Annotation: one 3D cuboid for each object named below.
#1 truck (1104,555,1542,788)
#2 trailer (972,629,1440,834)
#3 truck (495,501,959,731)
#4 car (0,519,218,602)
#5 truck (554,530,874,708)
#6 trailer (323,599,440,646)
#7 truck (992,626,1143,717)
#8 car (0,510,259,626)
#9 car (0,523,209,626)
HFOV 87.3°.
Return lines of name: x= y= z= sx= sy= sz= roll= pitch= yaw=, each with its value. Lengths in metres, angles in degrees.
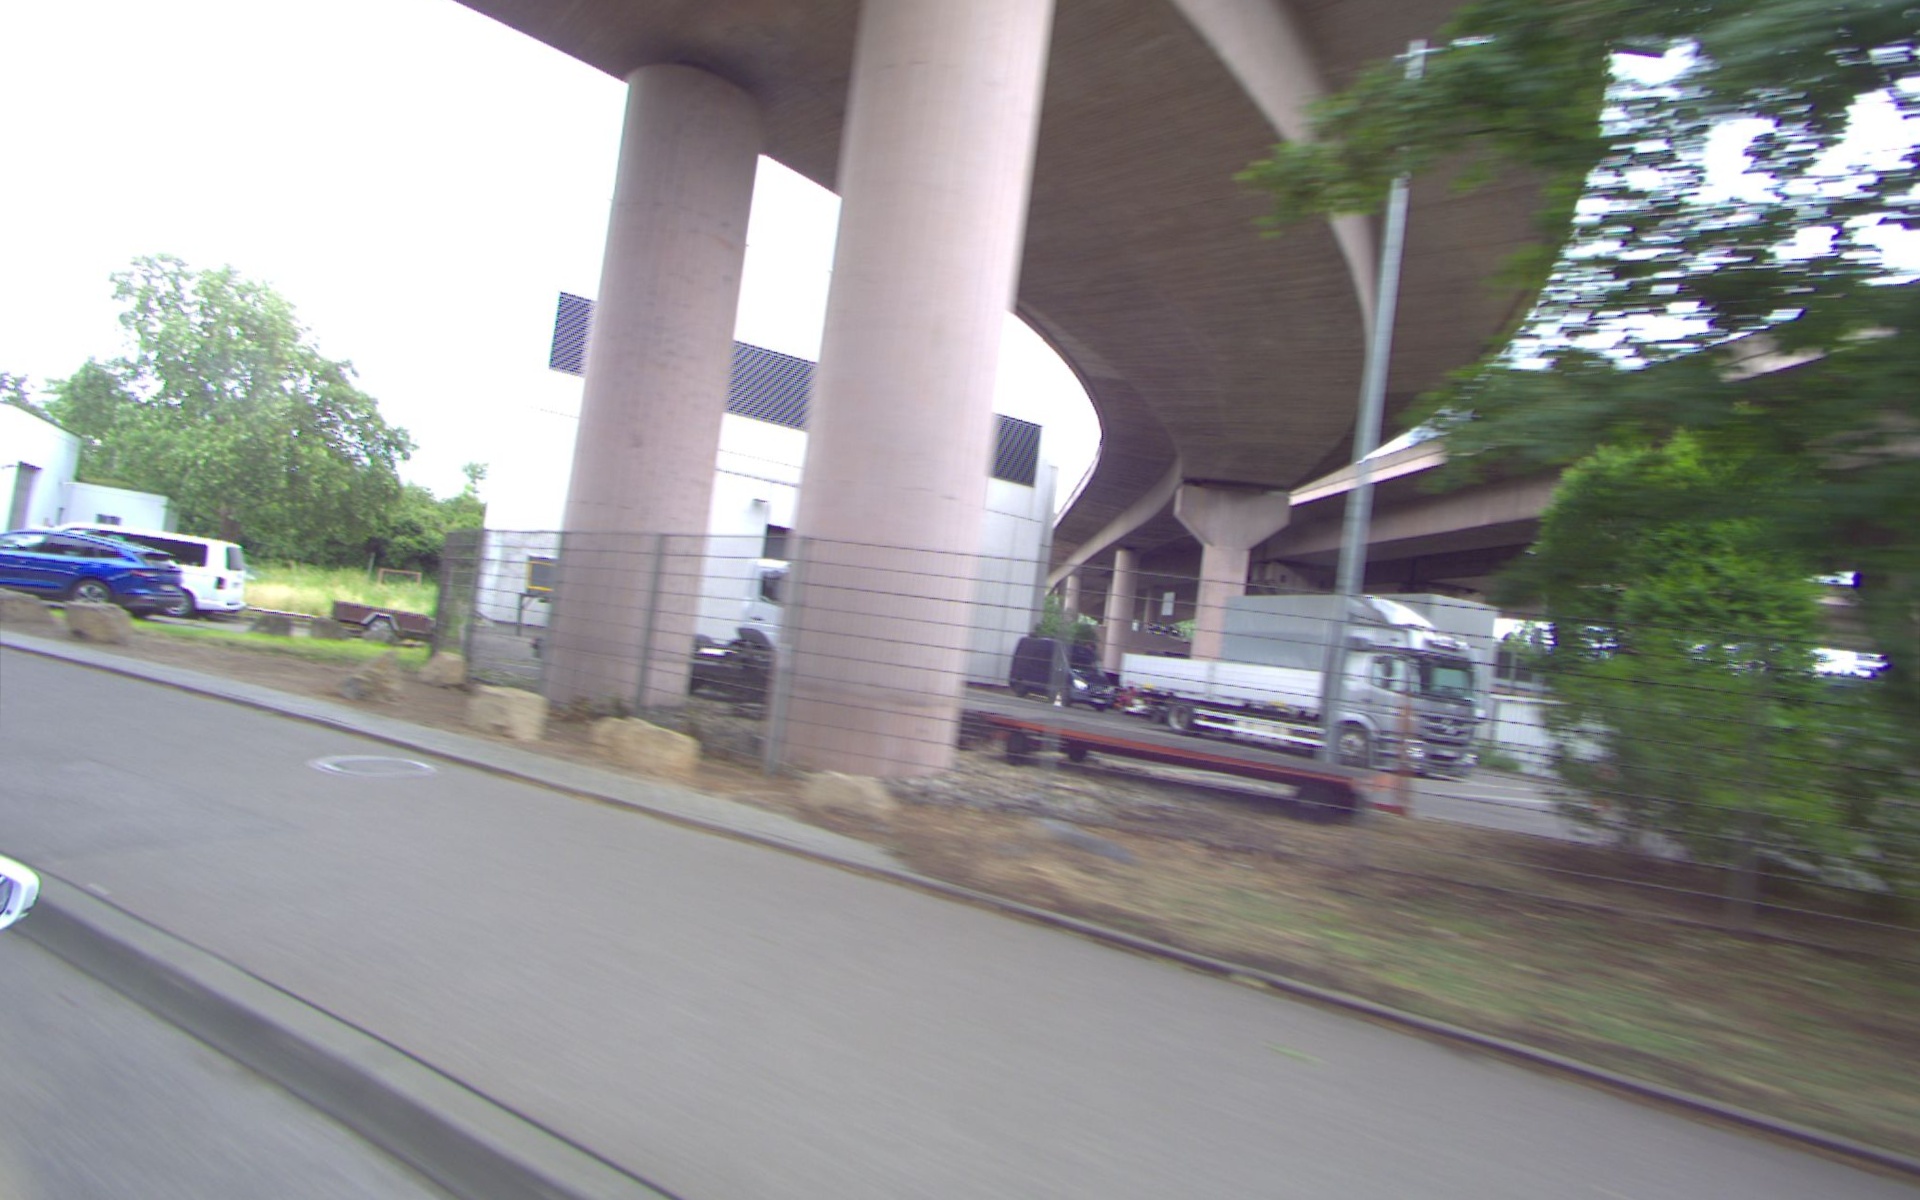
truck: x=8.430 y=1.507 z=25.461 sx=3.871 sy=4.413 sz=10.072 roll=9 pitch=-3 yaw=-27
trailer: x=2.384 y=1.222 z=10.364 sx=4.316 sy=1.347 sz=1.601 roll=5 pitch=-2 yaw=37
truck: x=-3.904 y=0.248 z=17.122 sx=7.098 sy=2.774 sz=2.429 roll=7 pitch=-2 yaw=15
car: x=-23.890 y=-1.062 z=28.434 sx=4.314 sy=1.605 sz=1.763 roll=9 pitch=-2 yaw=-28
truck: x=-5.246 y=0.398 z=21.501 sx=6.006 sy=2.918 sz=2.461 roll=7 pitch=-2 yaw=21
trailer: x=-15.224 y=0.597 z=26.523 sx=2.535 sy=0.909 sz=1.472 roll=8 pitch=-2 yaw=-32
truck: x=4.366 y=2.930 z=42.685 sx=3.014 sy=2.964 sz=6.894 roll=9 pitch=-3 yaw=-24
car: x=-19.849 y=-0.716 z=23.997 sx=4.618 sy=1.979 sz=1.886 roll=9 pitch=-2 yaw=-21
car: x=-18.997 y=-0.612 z=21.193 sx=4.610 sy=1.653 sz=1.773 roll=9 pitch=-2 yaw=-12
